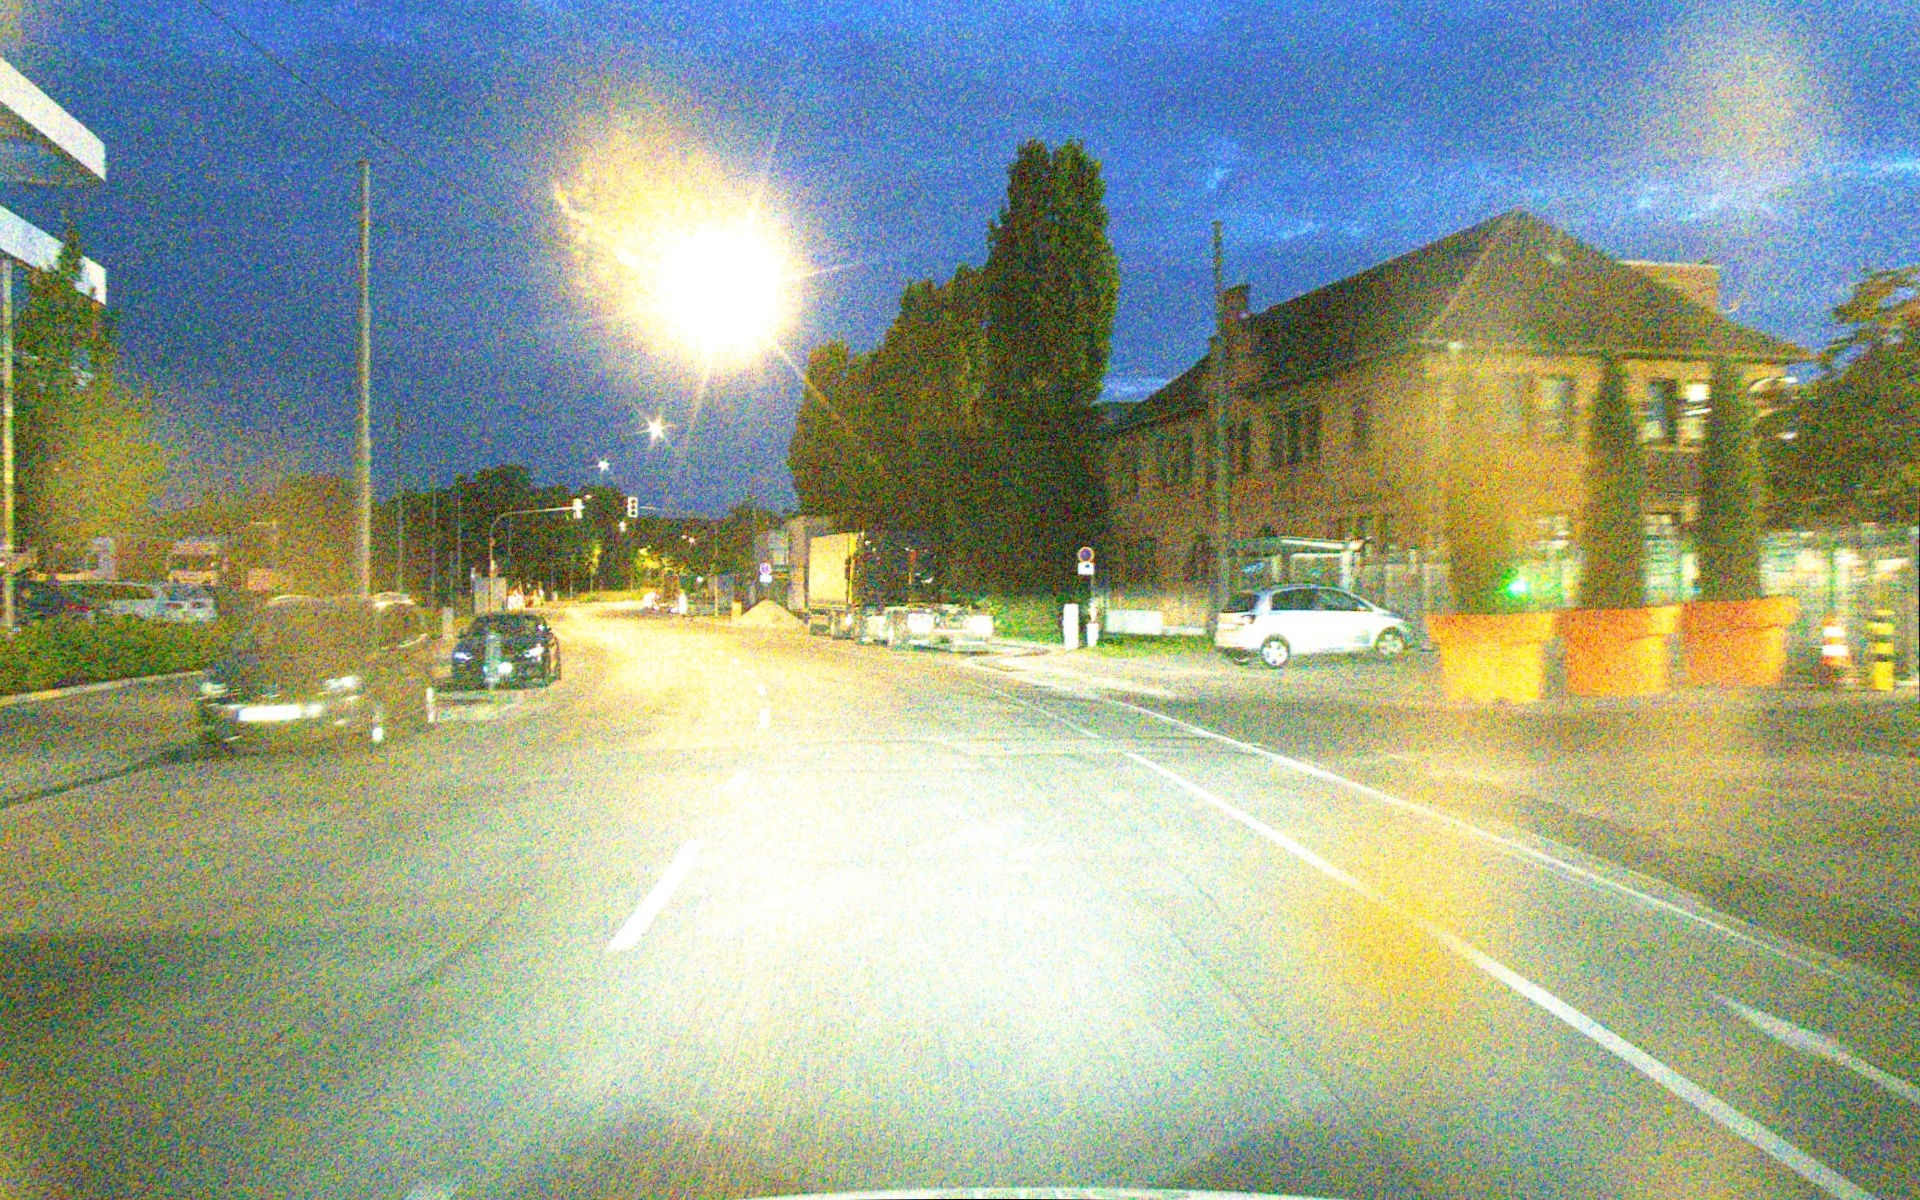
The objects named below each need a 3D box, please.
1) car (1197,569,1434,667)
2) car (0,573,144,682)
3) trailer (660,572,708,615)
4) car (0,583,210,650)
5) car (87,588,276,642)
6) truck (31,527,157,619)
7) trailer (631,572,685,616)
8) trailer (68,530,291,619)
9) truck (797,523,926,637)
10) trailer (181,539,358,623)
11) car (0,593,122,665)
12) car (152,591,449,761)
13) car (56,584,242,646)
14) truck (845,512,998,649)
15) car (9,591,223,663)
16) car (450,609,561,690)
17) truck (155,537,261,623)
[{"bbox_3d":[7.143,0.328,33.290,4.257,1.675,1.884,-3,1,-16],"label":"car"},{"bbox_3d":[-17.026,0.485,29.165,4.326,1.847,1.957,-1,0,-11],"label":"car"},{"bbox_3d":[-19.059,-0.421,113.955,2.573,2.895,4.684,1,-1,-18],"label":"trailer"},{"bbox_3d":[-20.036,0.372,38.538,4.325,1.504,1.846,0,0,-11],"label":"car"},{"bbox_3d":[-21.779,0.396,46.448,4.365,1.478,2.057,0,0,-8],"label":"car"},{"bbox_3d":[-41.501,-1.264,79.418,2.993,4.221,4.939,1,0,7],"label":"truck"},{"bbox_3d":[-23.380,-0.394,127.911,3.428,3.276,4.839,1,-1,-19],"label":"trailer"},{"bbox_3d":[-40.588,-1.201,87.062,2.993,4.221,15.014,1,0,7],"label":"trailer"},{"bbox_3d":[-3.811,-0.676,61.020,2.710,3.849,10.183,0,0,-15],"label":"truck"},{"bbox_3d":[-36.450,-0.932,88.314,2.995,4.001,15.003,1,0,0],"label":"trailer"},{"bbox_3d":[-19.563,0.574,33.556,4.190,1.418,1.823,0,0,-11],"label":"car"},{"bbox_3d":[-7.048,0.721,18.191,1.830,1.620,4.489,0,0,-5],"label":"car"},{"bbox_3d":[-21.383,0.388,43.783,4.058,1.607,1.836,0,0,-12],"label":"car"},{"bbox_3d":[-1.374,-0.549,51.249,2.709,3.849,9.101,0,0,-15],"label":"truck"},{"bbox_3d":[-20.719,0.647,40.783,4.328,1.710,1.956,0,0,-13],"label":"car"},{"bbox_3d":[-8.640,0.893,31.727,1.782,1.395,4.348,0,0,-12],"label":"car"},{"bbox_3d":[-36.511,-0.954,80.446,2.995,4.001,4.503,1,0,0],"label":"truck"}]
